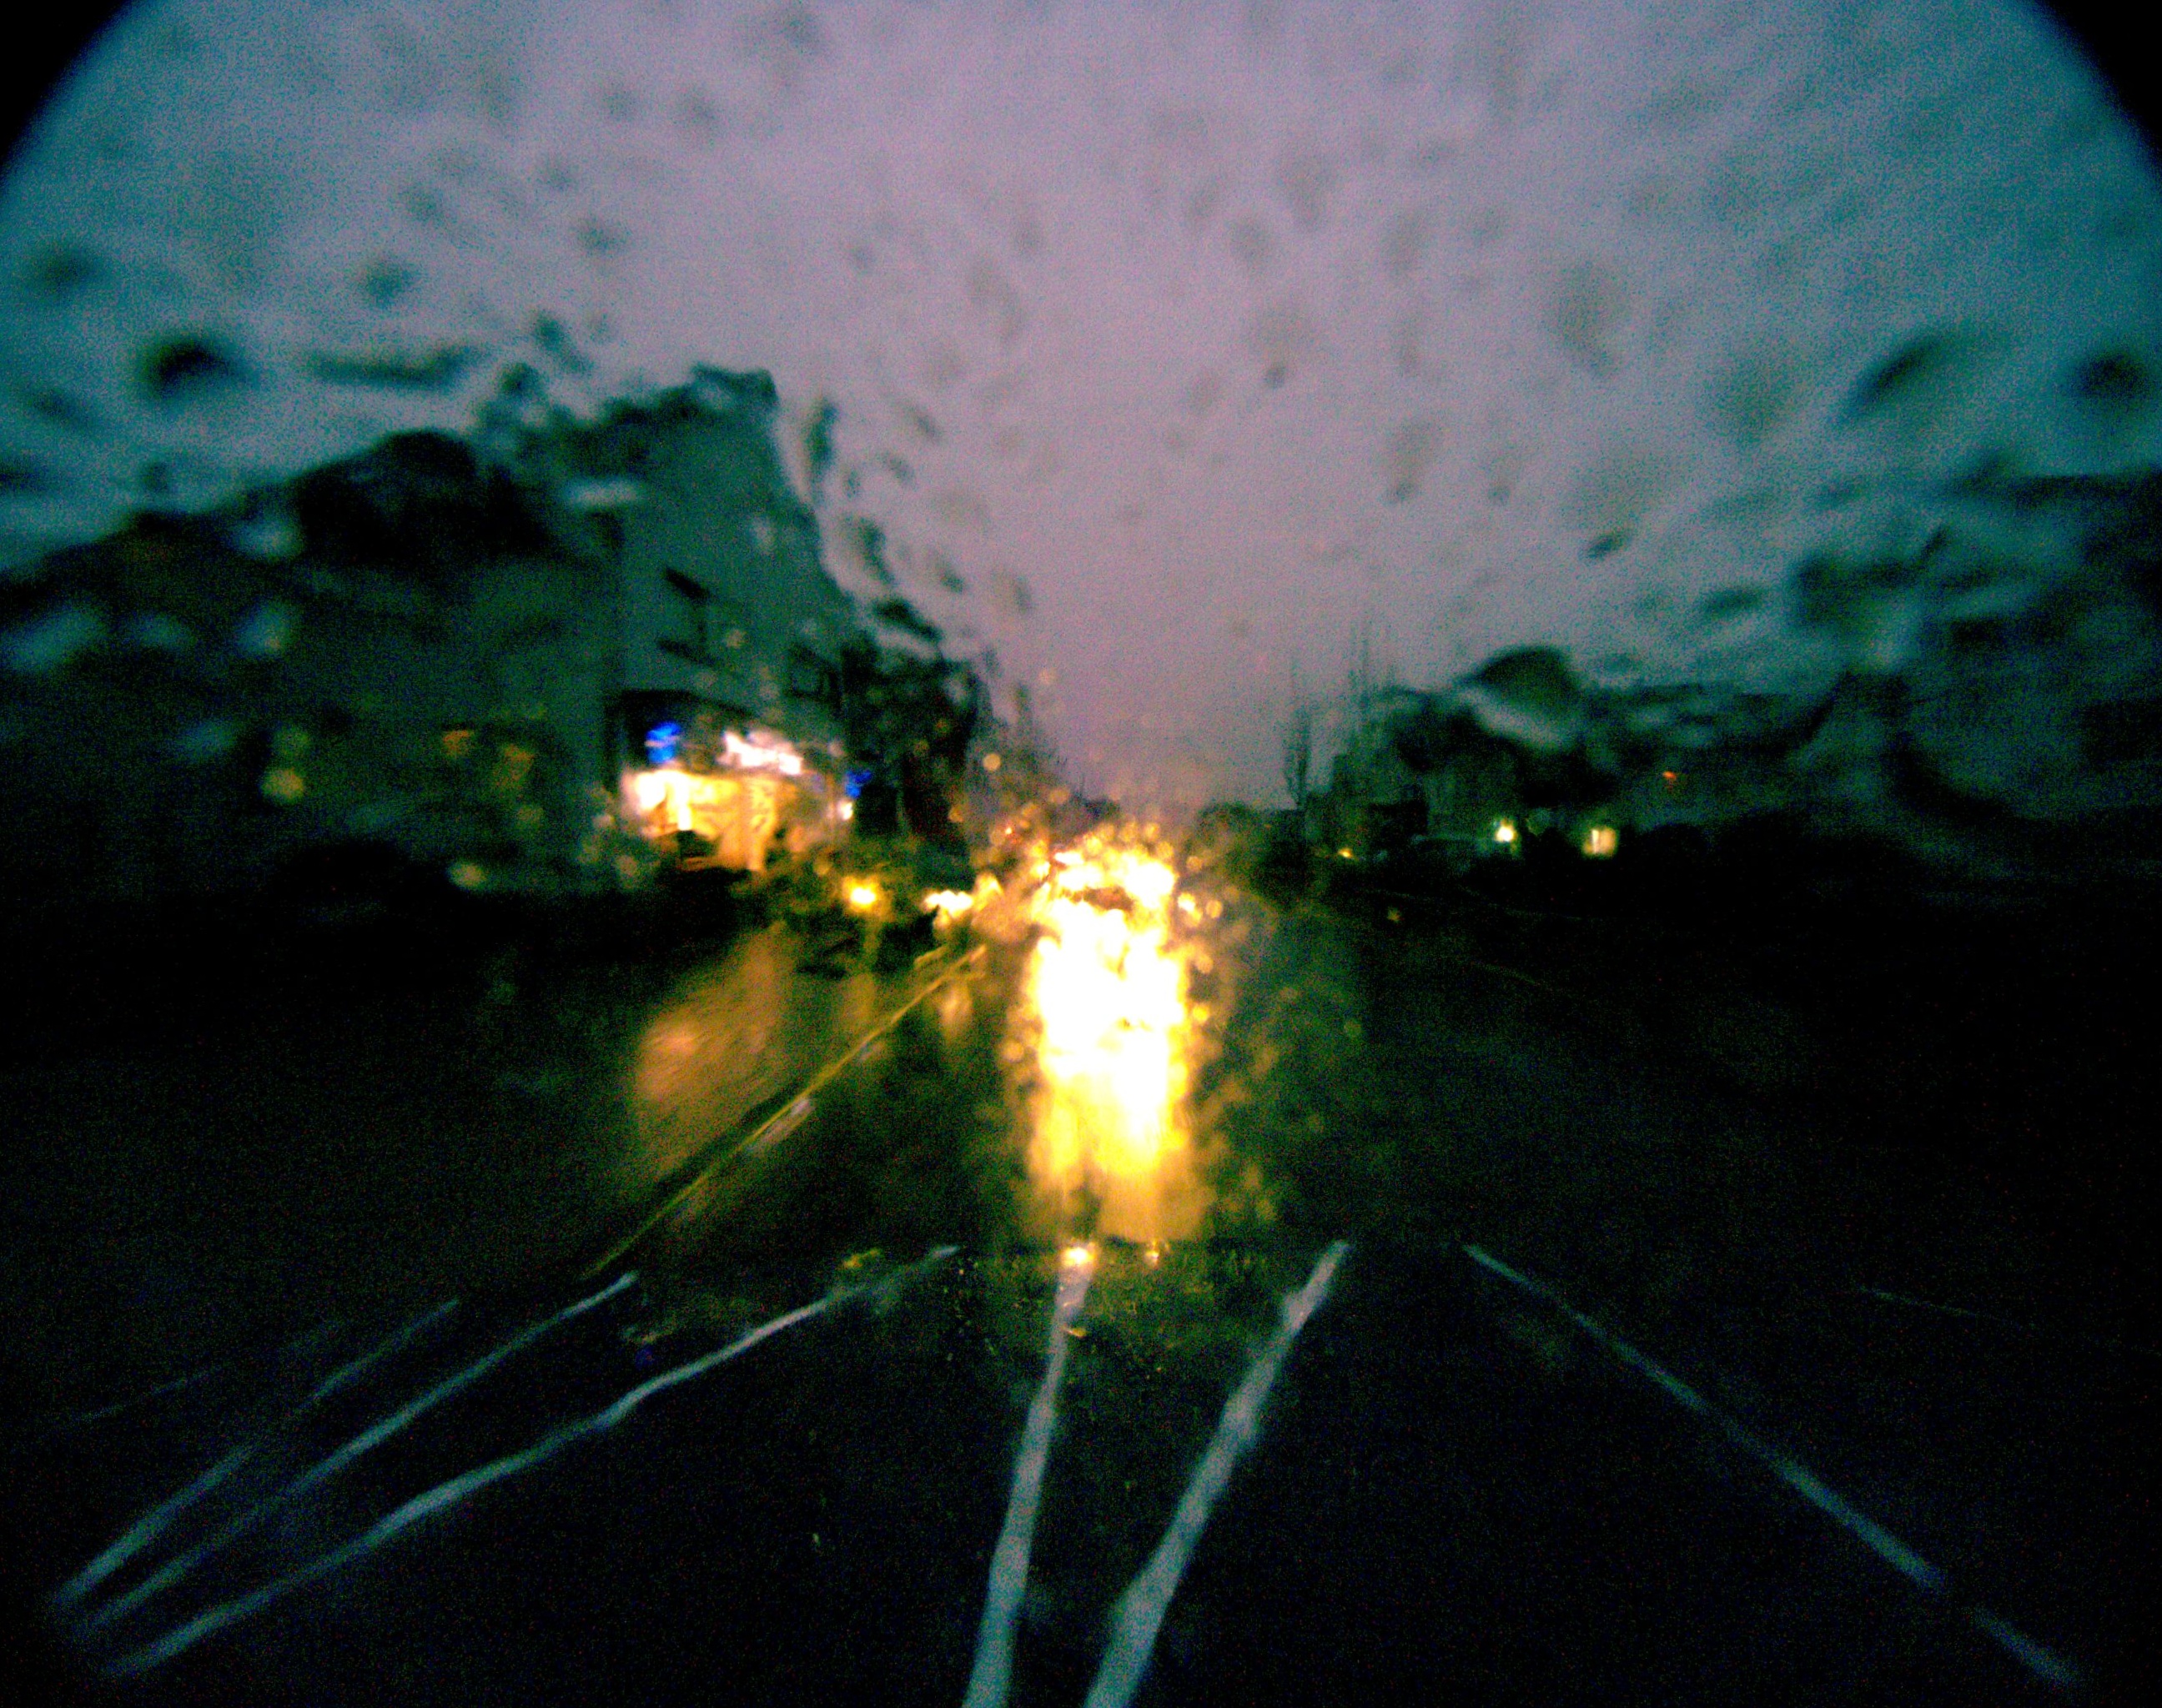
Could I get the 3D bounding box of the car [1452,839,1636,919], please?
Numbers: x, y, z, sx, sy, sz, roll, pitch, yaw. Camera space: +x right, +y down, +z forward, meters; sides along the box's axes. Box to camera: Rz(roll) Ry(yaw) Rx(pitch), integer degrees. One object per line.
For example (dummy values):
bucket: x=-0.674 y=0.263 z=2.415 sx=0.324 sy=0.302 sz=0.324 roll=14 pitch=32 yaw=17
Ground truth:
car: x=12.247 y=0.642 z=20.271 sx=3.805 sy=1.940 sz=1.750 roll=2 pitch=0 yaw=0

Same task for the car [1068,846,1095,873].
car: x=0.026 y=0.441 z=58.836 sx=1.999 sy=2.002 sz=4.774 roll=0 pitch=0 yaw=-1

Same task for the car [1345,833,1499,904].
car: x=10.138 y=0.439 z=22.798 sx=3.805 sy=1.940 sz=1.750 roll=2 pitch=0 yaw=0

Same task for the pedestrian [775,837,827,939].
pedestrian: x=-5.019 y=0.599 z=13.653 sx=0.649 sy=1.786 sz=0.508 roll=2 pitch=0 yaw=12

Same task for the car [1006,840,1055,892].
car: x=-2.055 y=0.482 z=31.804 sx=1.748 sy=2.001 sz=3.808 roll=2 pitch=0 yaw=0

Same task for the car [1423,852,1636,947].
car: x=10.139 y=0.994 z=17.380 sx=3.805 sy=1.940 sz=1.750 roll=2 pitch=0 yaw=0

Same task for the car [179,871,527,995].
car: x=-9.645 y=0.955 z=10.167 sx=3.555 sy=1.378 sz=1.662 roll=1 pitch=0 yaw=13

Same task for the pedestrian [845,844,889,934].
pedestrian: x=-4.175 y=0.667 z=14.859 sx=0.650 sy=1.711 sz=0.469 roll=2 pitch=0 yaw=7

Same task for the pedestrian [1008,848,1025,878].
pedestrian: x=-3.779 y=0.510 z=44.700 sx=0.860 sy=1.713 sz=0.929 roll=-2 pitch=1 yaw=1

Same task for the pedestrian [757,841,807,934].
pedestrian: x=-5.663 y=0.625 z=14.409 sx=0.609 sy=1.711 sz=0.651 roll=2 pitch=0 yaw=6

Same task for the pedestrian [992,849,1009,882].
pedestrian: x=-3.894 y=0.546 z=36.710 sx=0.731 sy=1.596 sz=0.723 roll=0 pitch=0 yaw=3

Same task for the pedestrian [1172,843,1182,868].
pedestrian: x=7.679 y=0.109 z=60.919 sx=0.666 sy=2.020 sz=0.548 roll=-1 pitch=0 yaw=-2

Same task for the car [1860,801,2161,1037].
car: x=9.988 y=0.496 z=6.656 sx=4.424 sy=1.790 sz=1.845 roll=0 pitch=0 yaw=0

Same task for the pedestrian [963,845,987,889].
pedestrian: x=-4.317 y=0.528 z=30.907 sx=0.819 sy=1.754 sz=1.060 roll=0 pitch=0 yaw=0

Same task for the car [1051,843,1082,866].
car: x=-1.341 y=0.023 z=68.925 sx=1.868 sy=2.002 sz=3.838 roll=0 pitch=0 yaw=-17

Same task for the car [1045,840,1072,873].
car: x=-1.428 y=0.161 z=48.667 sx=1.531 sy=2.002 sz=4.000 roll=0 pitch=0 yaw=1

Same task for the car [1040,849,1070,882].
car: x=-1.448 y=0.652 z=43.481 sx=1.531 sy=1.805 sz=4.000 roll=0 pitch=0 yaw=1

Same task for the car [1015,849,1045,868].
car: x=-5.500 y=0.443 z=81.625 sx=2.002 sy=2.002 sz=4.300 roll=0 pitch=0 yaw=-22

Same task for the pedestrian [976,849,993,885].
pedestrian: x=-4.406 y=0.589 z=34.618 sx=0.656 sy=1.596 sz=0.723 roll=0 pitch=0 yaw=3

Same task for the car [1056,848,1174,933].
car: x=0.861 y=0.695 z=17.251 sx=2.269 sy=1.633 sz=5.067 roll=-1 pitch=0 yaw=5

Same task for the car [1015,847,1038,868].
car: x=-4.957 y=0.293 z=68.268 sx=1.782 sy=1.805 sz=3.997 roll=0 pitch=0 yaw=-8

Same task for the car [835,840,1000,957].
car: x=-2.734 y=0.685 z=13.862 sx=1.998 sy=1.774 sz=4.520 roll=0 pitch=0 yaw=0

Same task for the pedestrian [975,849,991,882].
pedestrian: x=-4.745 y=0.561 z=36.721 sx=0.656 sy=1.596 sz=0.723 roll=0 pitch=0 yaw=3

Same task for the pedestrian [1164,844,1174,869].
pedestrian: x=6.954 y=0.194 z=60.275 sx=0.674 sy=2.002 sz=0.604 roll=-2 pitch=1 yaw=0

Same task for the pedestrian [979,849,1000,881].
pedestrian: x=-4.954 y=0.573 z=41.256 sx=0.974 sy=1.713 sz=1.026 roll=-2 pitch=1 yaw=1
